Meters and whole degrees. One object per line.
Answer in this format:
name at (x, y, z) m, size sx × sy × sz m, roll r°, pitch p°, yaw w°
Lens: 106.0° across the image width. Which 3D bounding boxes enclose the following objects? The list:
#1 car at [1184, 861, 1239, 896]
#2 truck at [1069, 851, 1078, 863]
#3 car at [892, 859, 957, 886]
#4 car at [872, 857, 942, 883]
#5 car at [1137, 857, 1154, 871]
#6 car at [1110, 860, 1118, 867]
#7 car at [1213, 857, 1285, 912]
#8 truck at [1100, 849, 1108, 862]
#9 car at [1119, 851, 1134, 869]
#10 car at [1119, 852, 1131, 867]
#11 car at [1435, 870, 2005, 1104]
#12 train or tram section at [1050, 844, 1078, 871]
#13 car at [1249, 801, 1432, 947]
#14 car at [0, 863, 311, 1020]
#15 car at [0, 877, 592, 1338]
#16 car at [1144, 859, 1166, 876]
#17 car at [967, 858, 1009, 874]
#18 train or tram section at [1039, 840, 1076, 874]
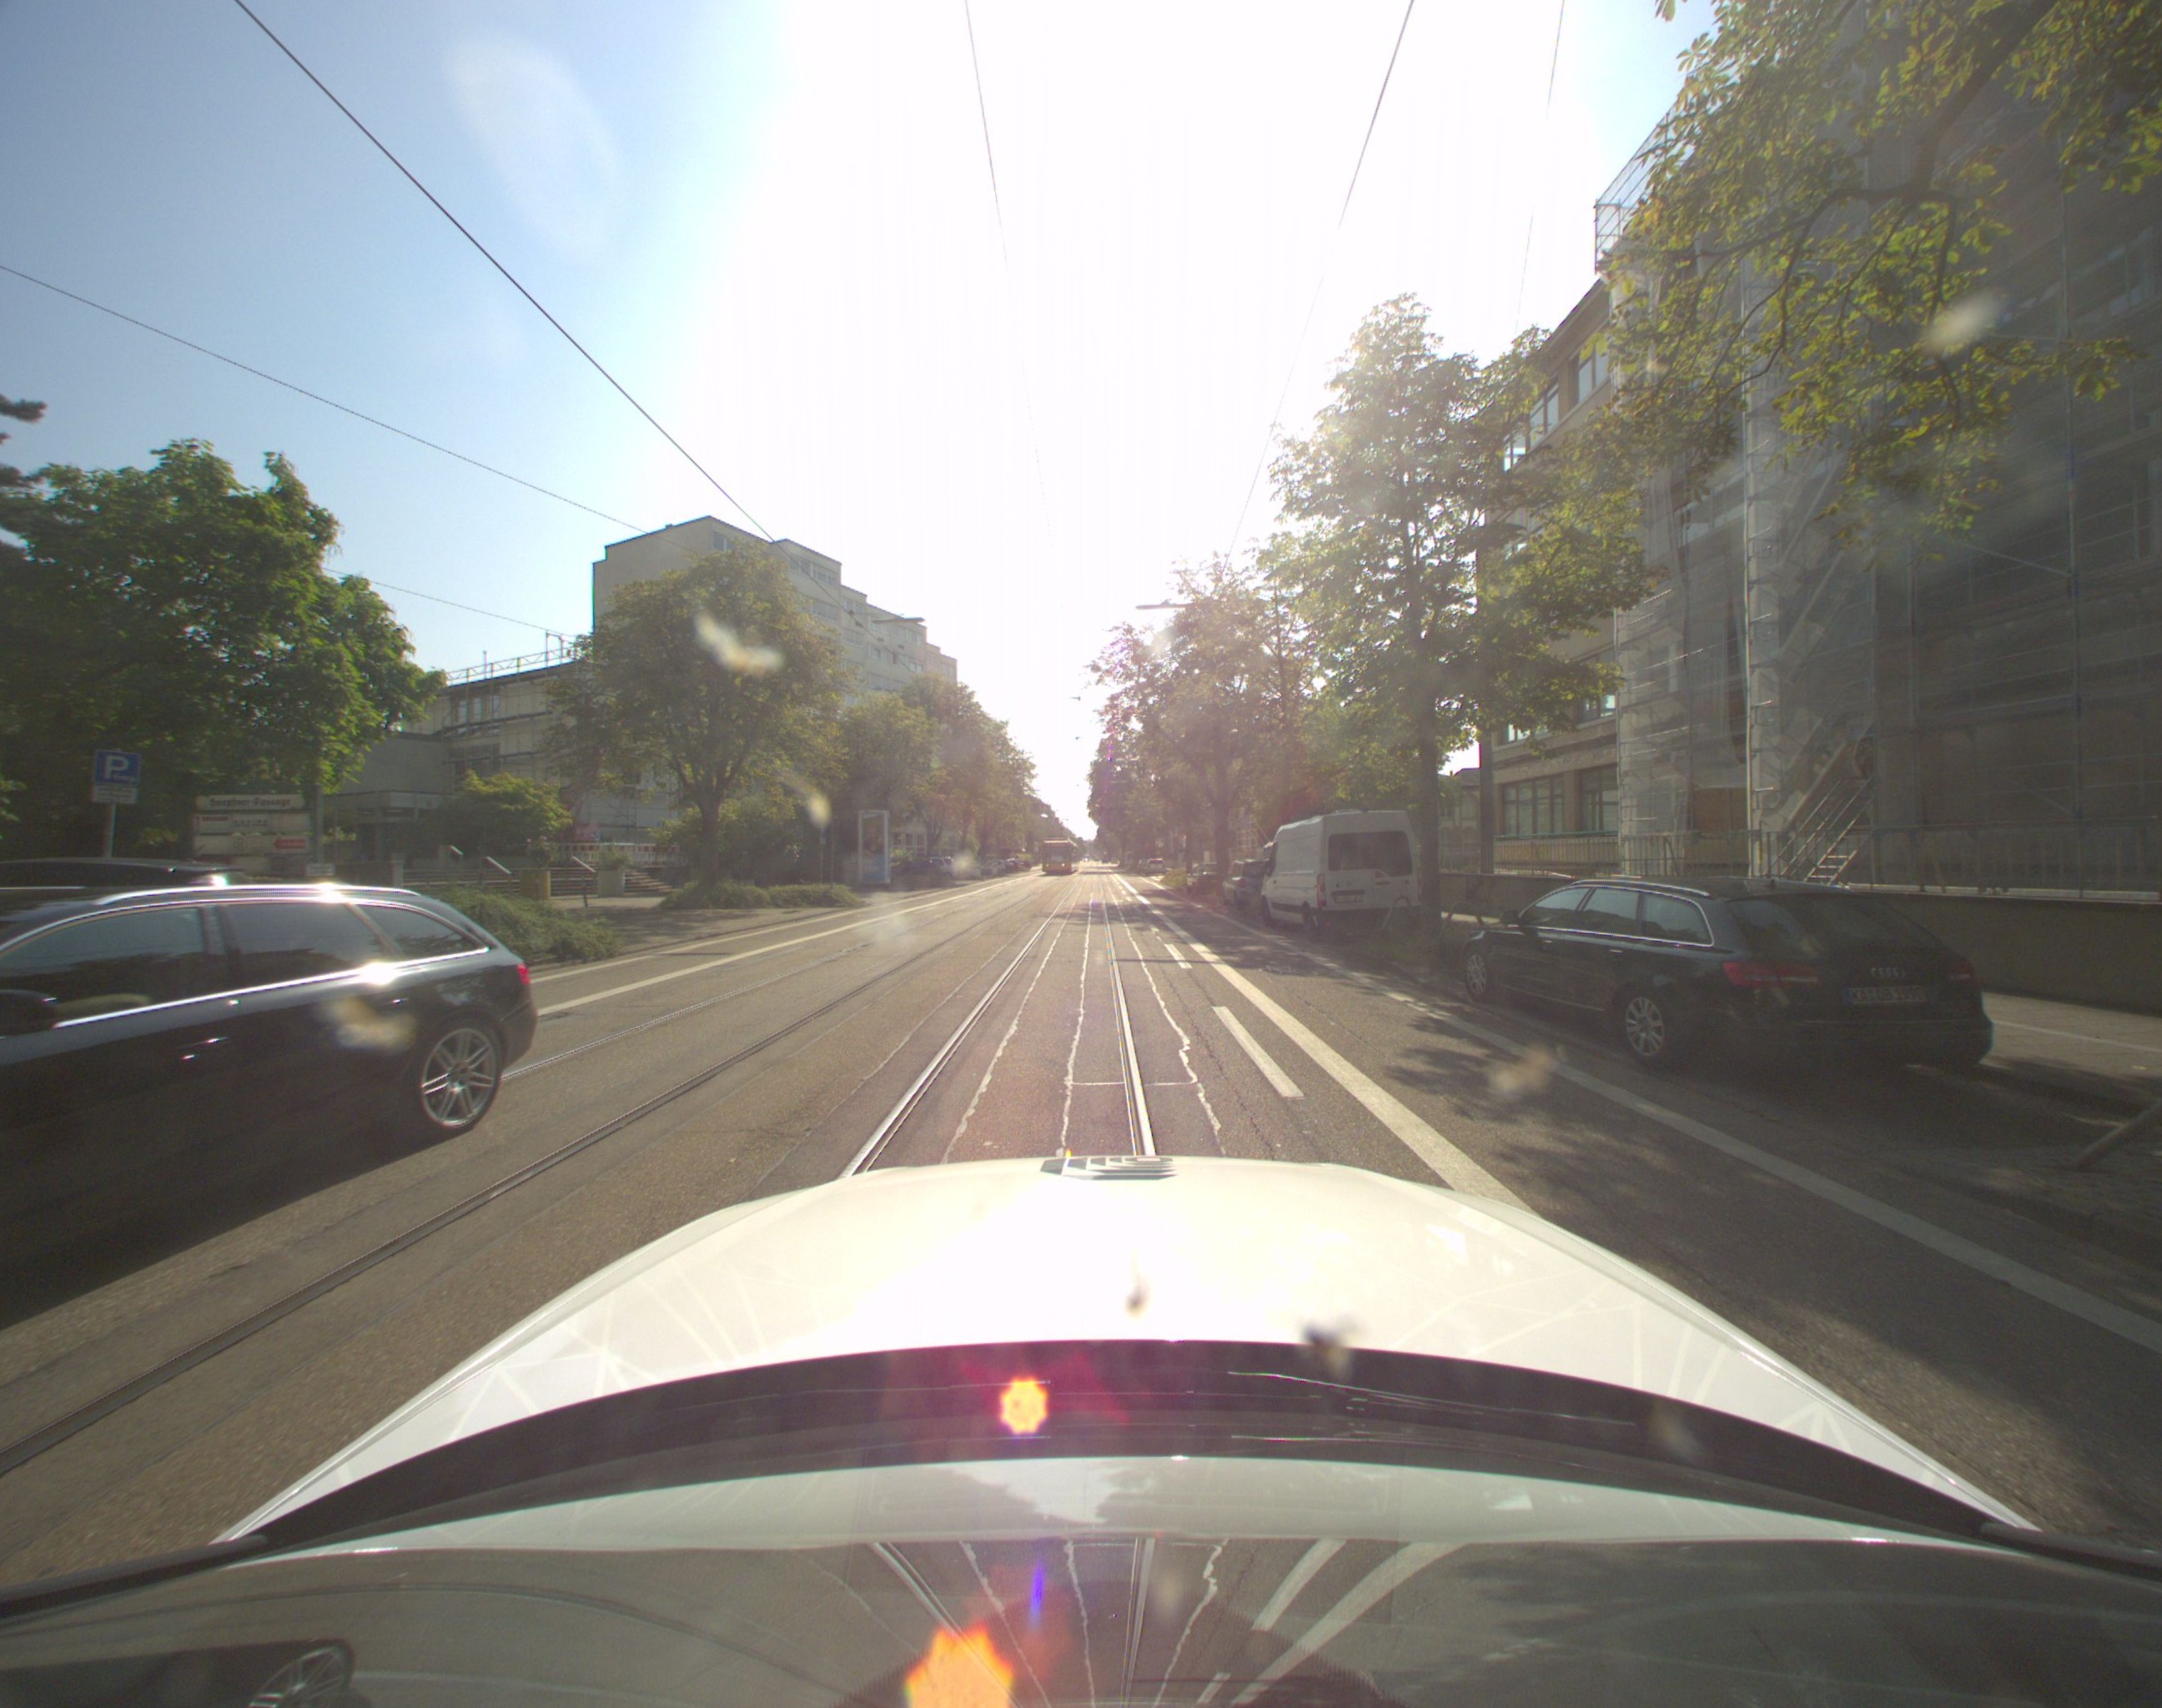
car at (5.801, 1.057, 36.718) m, size 1.747 × 1.377 × 4.720 m, roll -2°, pitch 0°, yaw 1°
truck at (-1.782, 0.668, 200.957) m, size 1.987 × 2.975 × 4.571 m, roll -1°, pitch 0°, yaw 1°
car at (-10.122, 1.162, 52.774) m, size 3.817 × 1.621 × 1.722 m, roll 0°, pitch -1°, yaw -44°
car at (-10.517, 0.947, 49.298) m, size 3.816 × 1.442 × 1.673 m, roll 0°, pitch 0°, yaw -42°
car at (6.622, 1.007, 83.973) m, size 1.589 × 1.418 × 3.636 m, roll -1°, pitch 0°, yaw 2°
car at (8.129, 2.351, 199.657) m, size 1.986 × 1.838 × 4.002 m, roll -1°, pitch 0°, yaw 2°
car at (5.517, 0.961, 27.114) m, size 1.658 × 1.616 × 3.878 m, roll -2°, pitch 0°, yaw 2°
truck at (5.611, 0.277, 200.819) m, size 1.855 × 3.131 × 4.350 m, roll -1°, pitch 0°, yaw -1°
car at (6.274, 0.838, 111.968) m, size 1.997 × 2.490 × 4.479 m, roll 0°, pitch 0°, yaw 2°
car at (7.475, 0.964, 138.966) m, size 1.997 × 2.475 × 4.479 m, roll -1°, pitch 0°, yaw 2°
car at (5.085, 0.888, 7.569) m, size 1.610 × 1.374 × 4.829 m, roll -1°, pitch 0°, yaw 2°
train or tram section at (-1.816, 0.373, 89.068) m, size 2.719 × 2.849 × 6.544 m, roll -1°, pitch 0°, yaw 1°
car at (5.363, 0.376, 17.791) m, size 2.076 × 2.552 × 5.500 m, roll -4°, pitch 0°, yaw 0°
car at (-10.985, 0.866, 8.690) m, size 3.651 × 1.515 × 1.608 m, roll 1°, pitch 0°, yaw -24°
car at (-4.309, 0.853, 3.353) m, size 1.822 × 1.376 × 4.512 m, roll -1°, pitch 0°, yaw 0°
car at (6.377, 1.126, 70.308) m, size 1.683 × 1.418 × 3.636 m, roll -1°, pitch 0°, yaw 2°
car at (-8.443, 1.061, 74.119) m, size 1.550 × 1.443 × 3.786 m, roll -1°, pitch 0°, yaw 41°
train or tram section at (-2.049, 0.305, 78.056) m, size 2.719 × 2.894 × 15.457 m, roll -1°, pitch 0°, yaw 1°
